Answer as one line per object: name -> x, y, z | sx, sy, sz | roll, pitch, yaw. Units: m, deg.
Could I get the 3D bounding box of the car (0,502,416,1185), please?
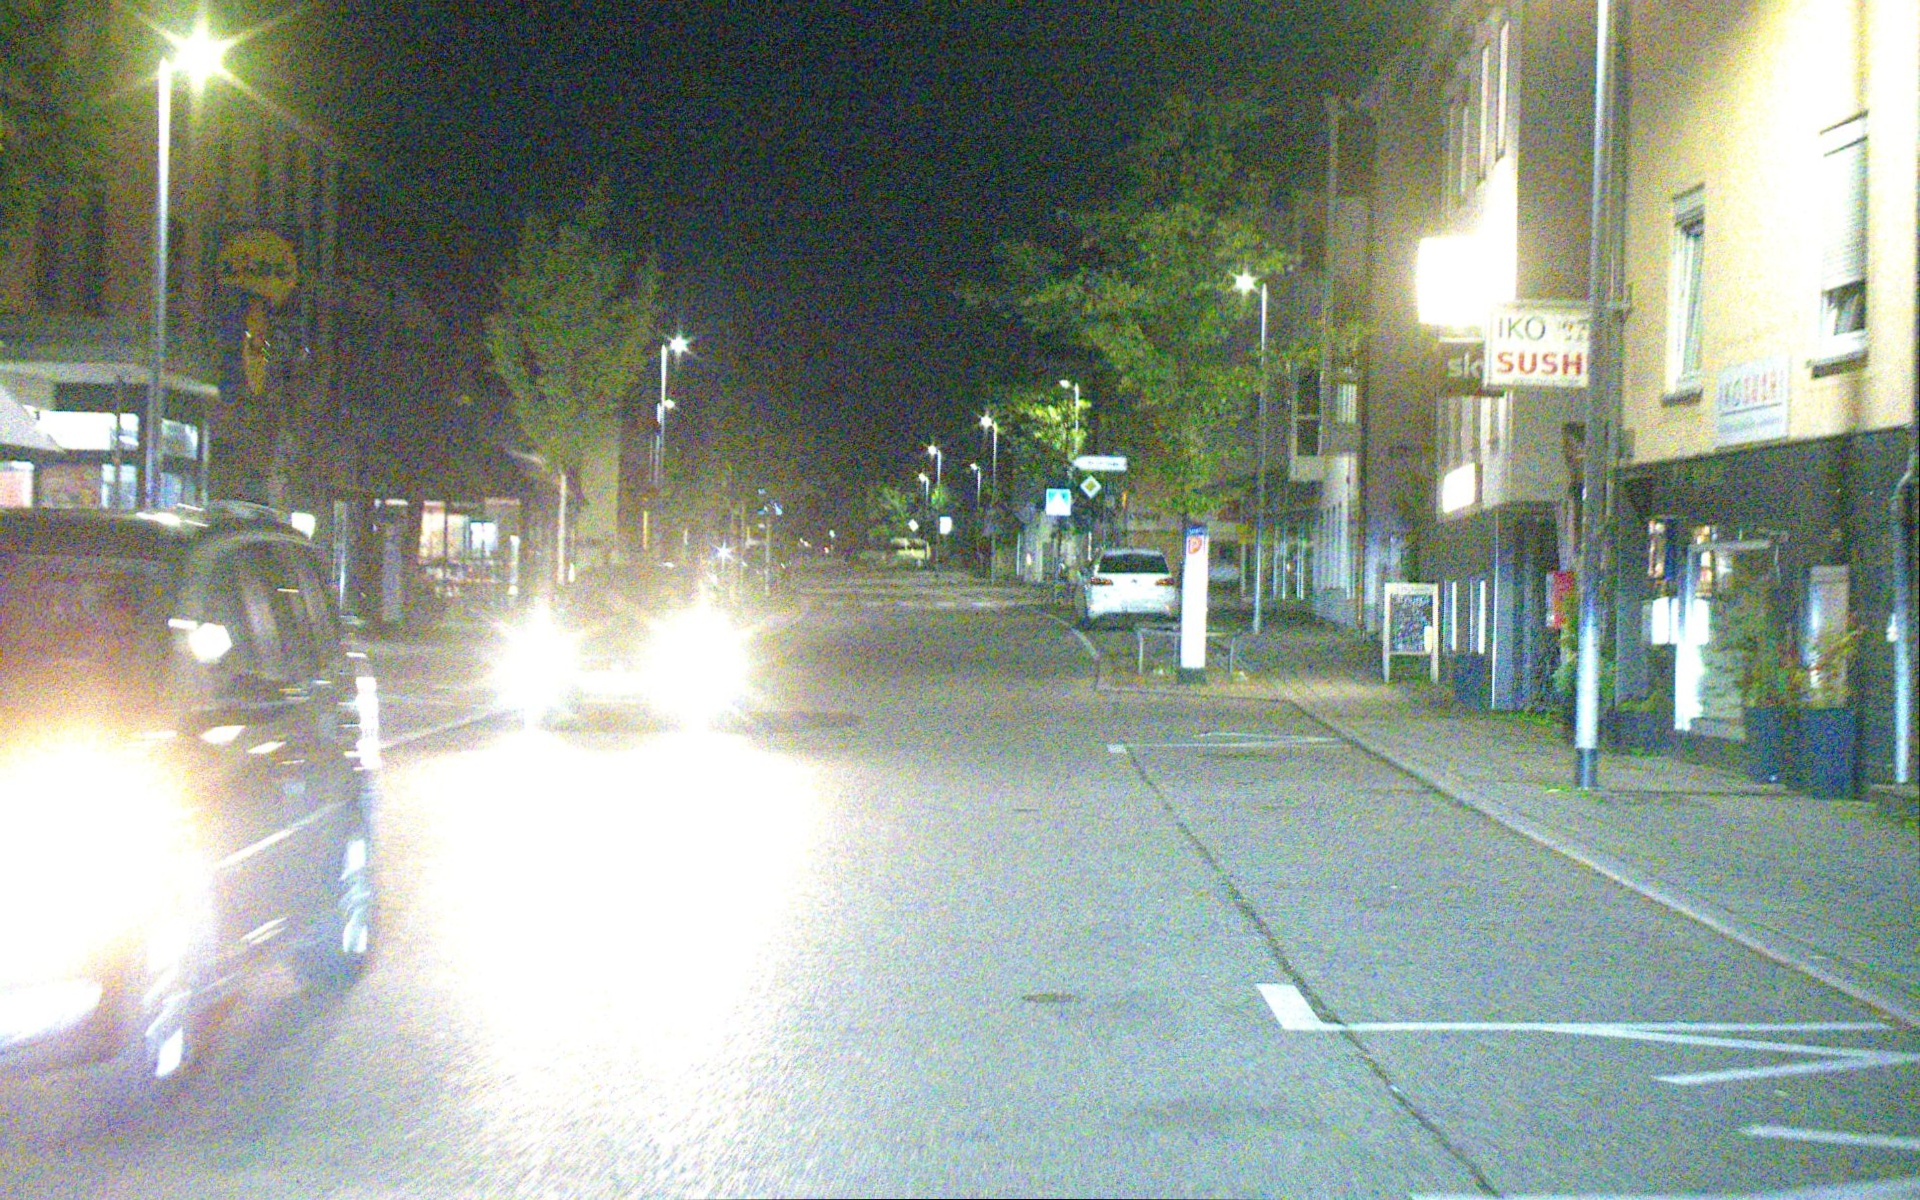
car -> -2.894, 0.552, 10.418 | 1.748, 1.639, 4.308 | 0, 1, 1

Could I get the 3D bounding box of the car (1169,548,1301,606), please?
car -> 7.899, -0.666, 98.941 | 3.505, 1.519, 1.821 | -2, 1, -4

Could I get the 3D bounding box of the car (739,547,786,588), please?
car -> -7.429, -1.233, 129.401 | 1.688, 1.505, 4.279 | 1, 1, -3

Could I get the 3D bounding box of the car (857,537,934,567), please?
car -> -4.423, -3.302, 234.822 | 5.181, 2.007, 2.102 | 0, 1, -4

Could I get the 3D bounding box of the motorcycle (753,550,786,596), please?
motorcycle -> -6.089, -0.865, 110.079 | 0.746, 1.447, 2.195 | 1, 1, 5

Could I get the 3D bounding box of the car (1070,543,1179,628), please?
car -> 3.102, -0.297, 65.592 | 1.742, 1.563, 4.209 | 0, 1, -2

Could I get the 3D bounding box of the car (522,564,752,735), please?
car -> -2.874, 0.401, 31.276 | 1.717, 1.423, 3.816 | 1, 1, 0
